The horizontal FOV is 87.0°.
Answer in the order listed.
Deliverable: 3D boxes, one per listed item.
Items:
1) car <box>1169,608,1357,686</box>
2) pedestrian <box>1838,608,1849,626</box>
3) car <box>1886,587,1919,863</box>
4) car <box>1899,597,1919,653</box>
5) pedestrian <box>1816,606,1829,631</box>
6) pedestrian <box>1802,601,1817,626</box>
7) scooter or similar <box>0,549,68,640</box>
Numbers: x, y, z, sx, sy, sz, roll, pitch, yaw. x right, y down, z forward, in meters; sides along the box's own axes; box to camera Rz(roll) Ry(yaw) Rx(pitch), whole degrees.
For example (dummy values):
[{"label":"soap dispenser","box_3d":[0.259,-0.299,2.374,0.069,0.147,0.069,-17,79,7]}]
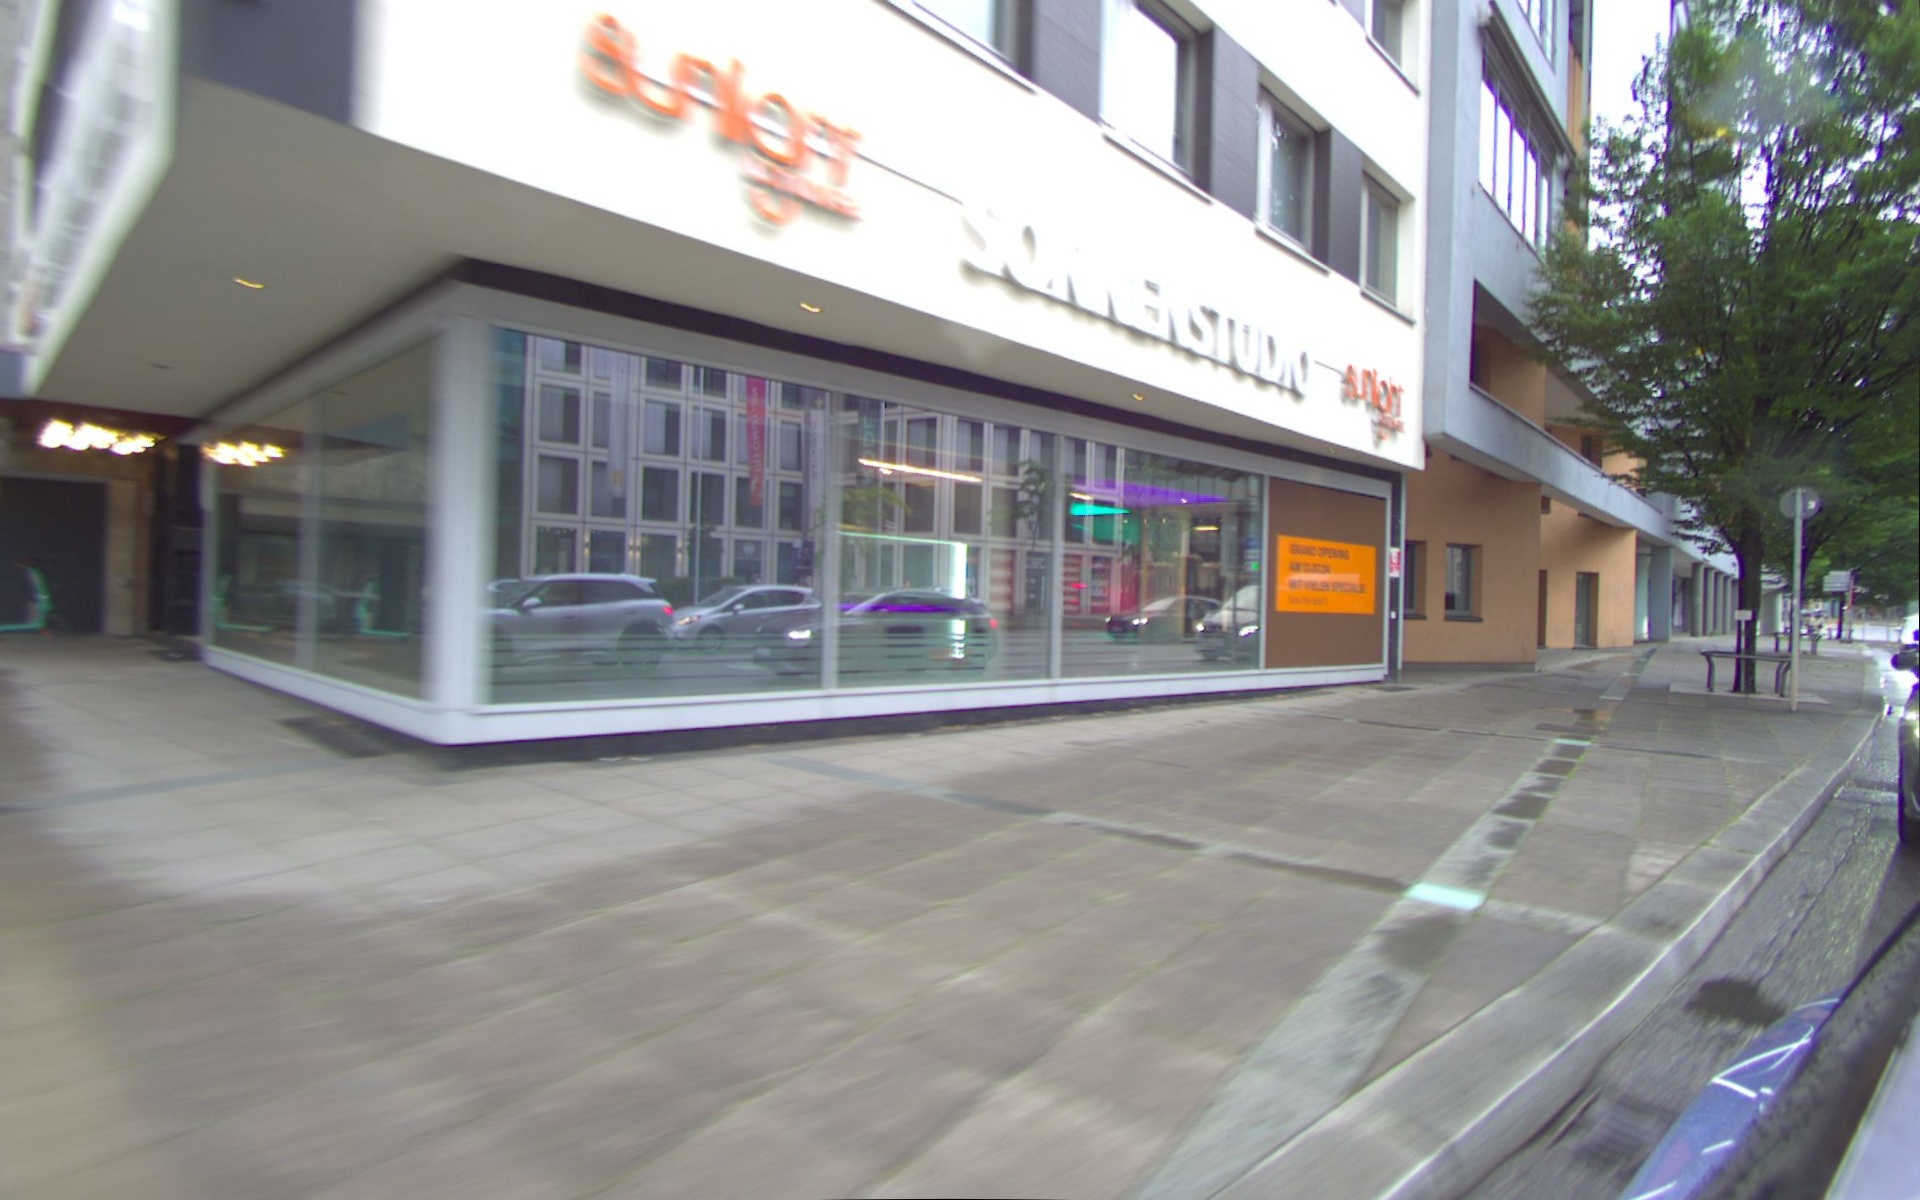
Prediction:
[{"label":"car","box_3d":[7.430,1.054,24.585,4.839,1.629,1.998,-1,0,-39]},{"label":"pedestrian","box_3d":[78.805,1.518,90.302,0.650,1.618,1.045,-1,0,37]},{"label":"car","box_3d":[7.606,0.684,6.514,4.309,1.571,1.801,-1,0,-39]},{"label":"car","box_3d":[35.469,0.846,36.591,2.053,1.916,4.973,-1,0,42]},{"label":"pedestrian","box_3d":[62.148,1.328,72.899,0.639,1.805,0.866,-1,-2,43]},{"label":"pedestrian","box_3d":[60.984,0.976,72.635,0.790,1.805,0.882,-1,-2,40]},{"label":"scooter or similar","box_3d":[-14.296,-0.077,15.283,0.518,1.354,1.212,-1,0,43]}]
